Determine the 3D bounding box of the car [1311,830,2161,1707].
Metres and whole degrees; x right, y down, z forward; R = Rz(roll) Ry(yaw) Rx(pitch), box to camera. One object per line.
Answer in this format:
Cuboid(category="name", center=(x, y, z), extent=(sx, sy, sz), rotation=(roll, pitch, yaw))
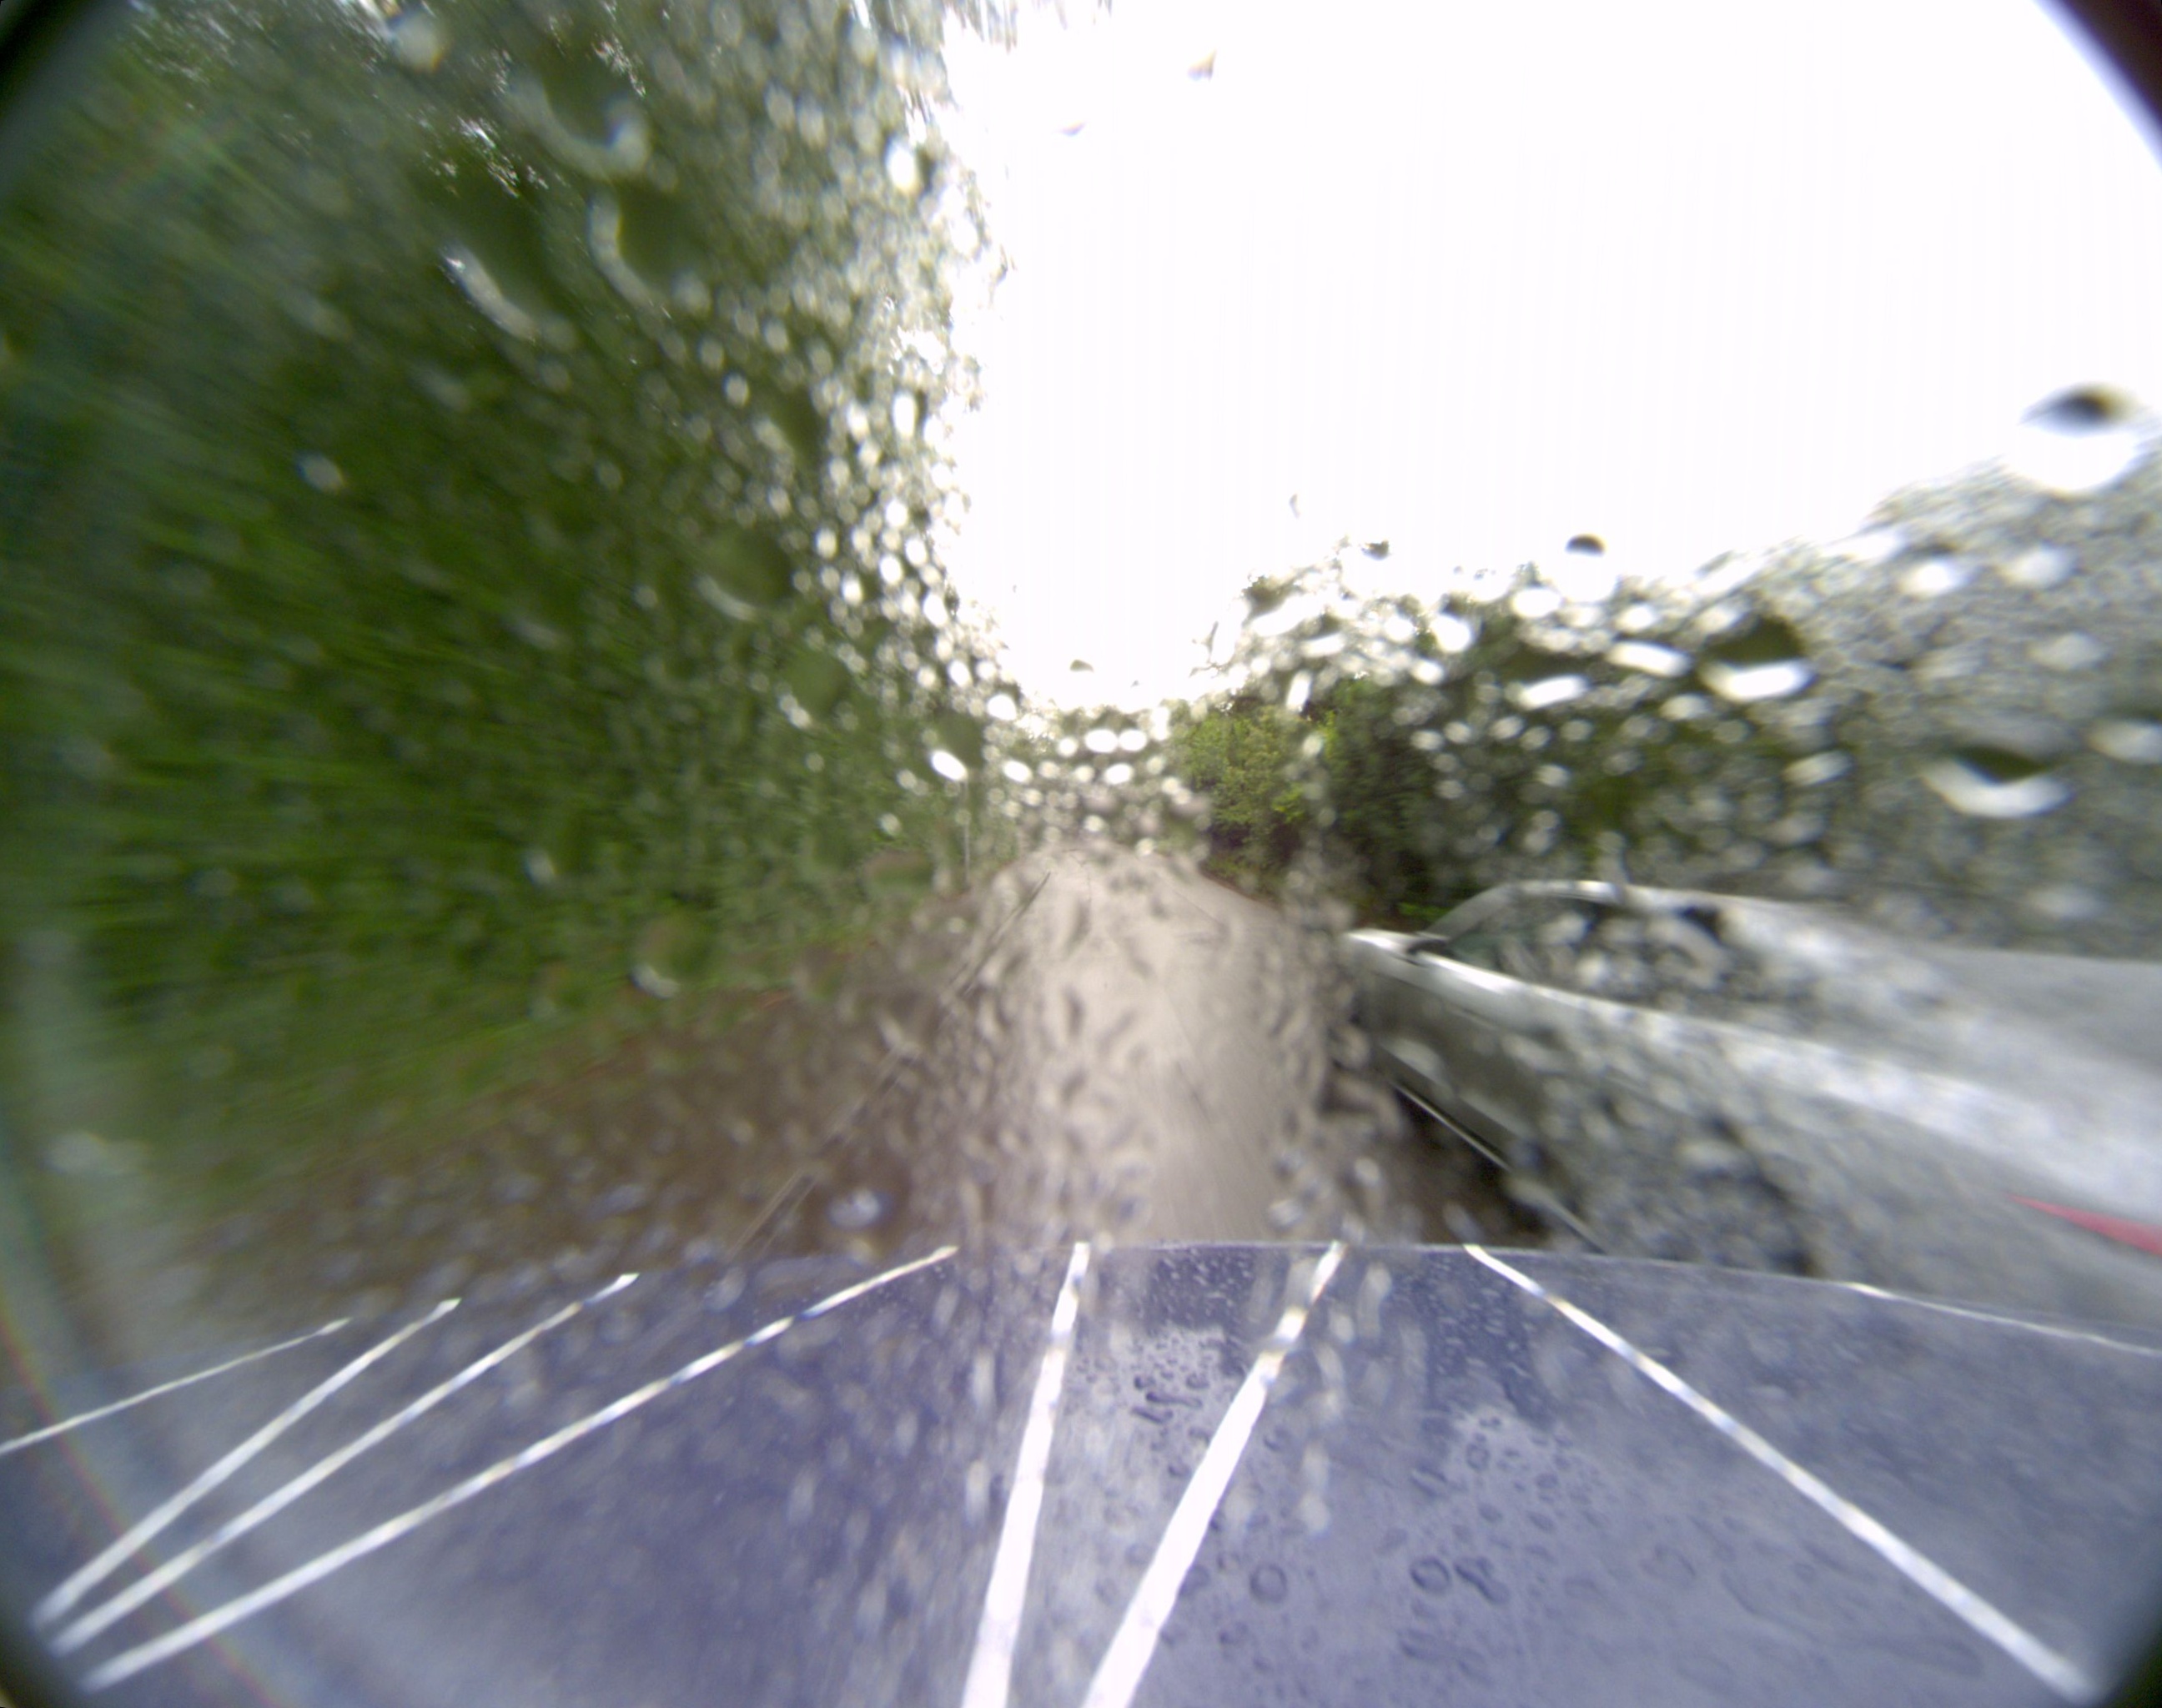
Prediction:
Cuboid(category="car", center=(2.572, 0.755, 2.895), extent=(1.946, 1.514, 4.575), rotation=(0, 4, 0))
